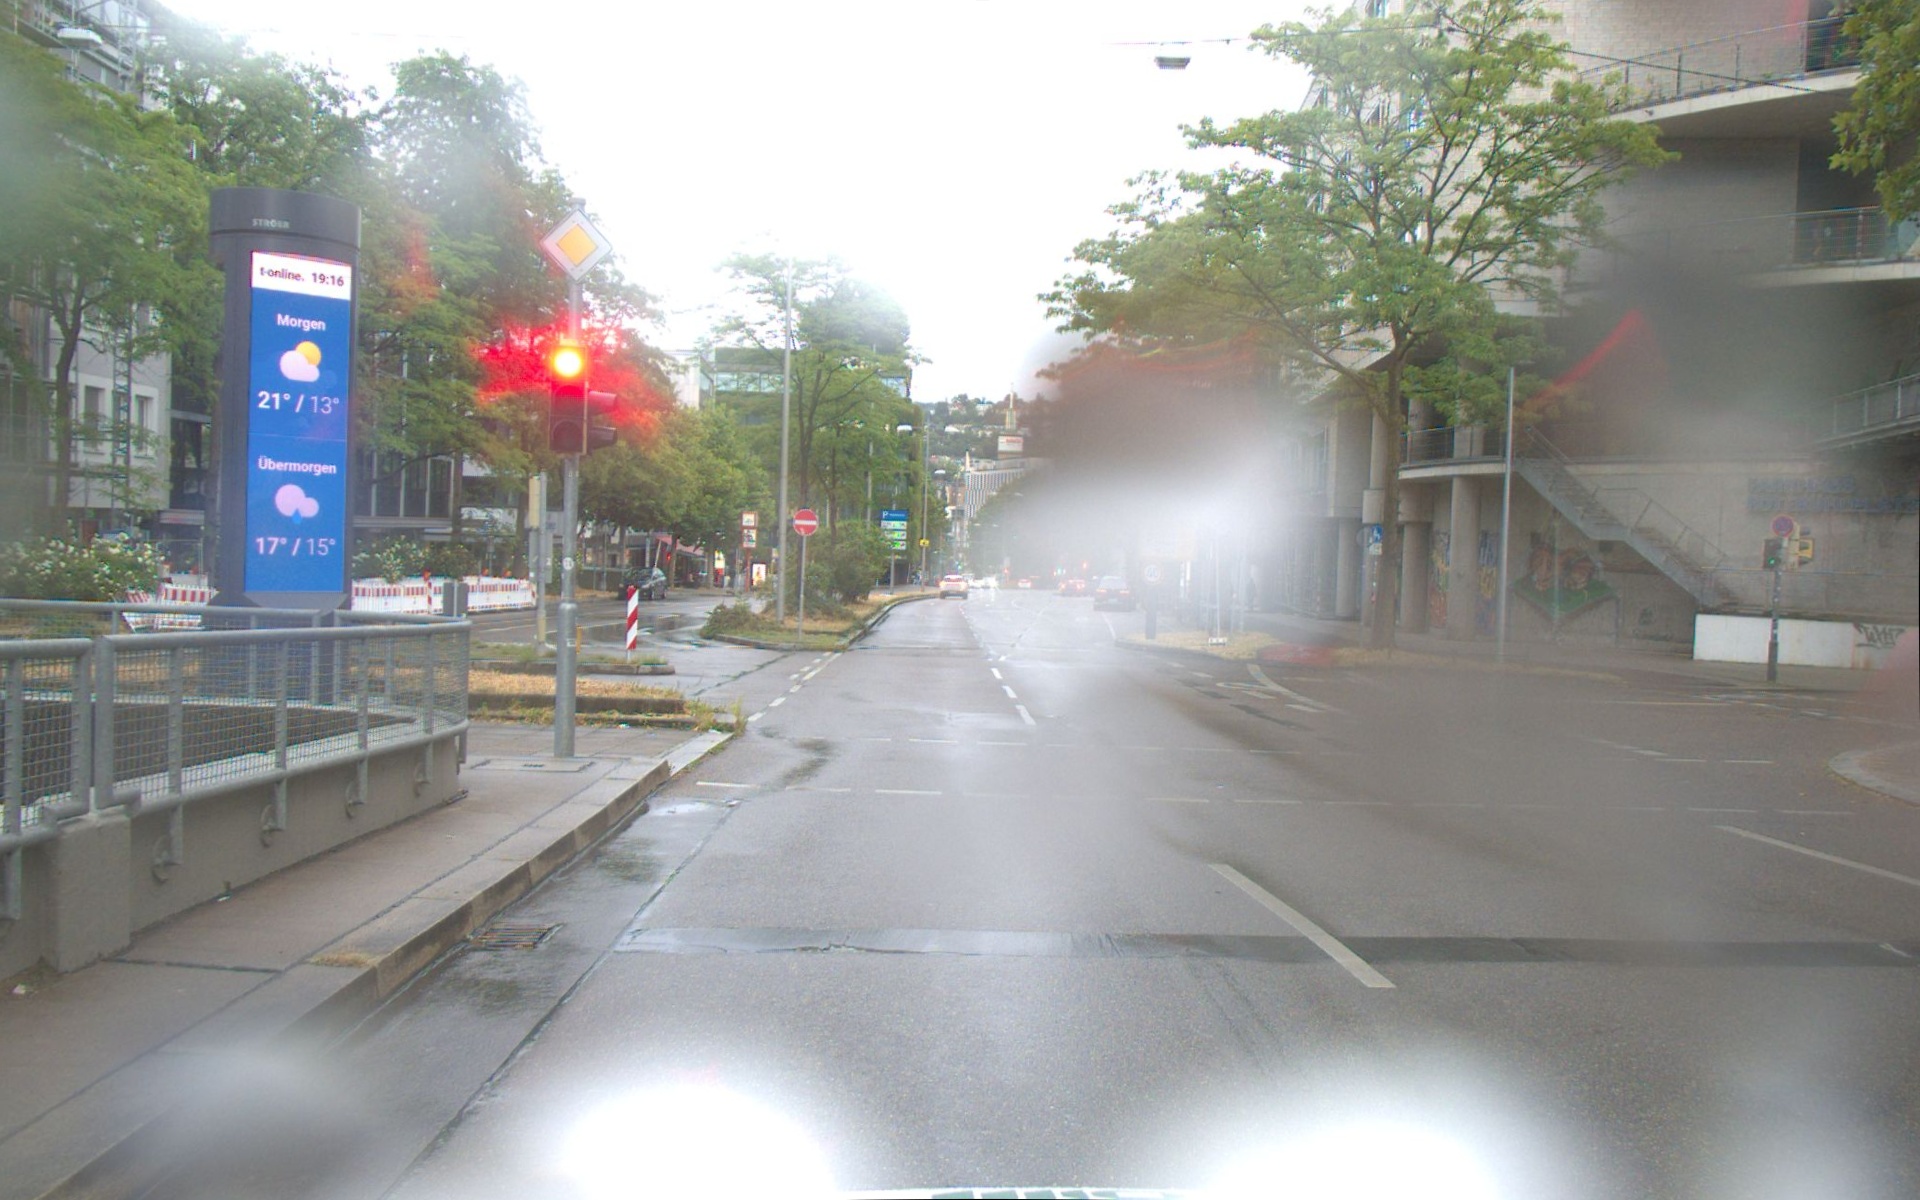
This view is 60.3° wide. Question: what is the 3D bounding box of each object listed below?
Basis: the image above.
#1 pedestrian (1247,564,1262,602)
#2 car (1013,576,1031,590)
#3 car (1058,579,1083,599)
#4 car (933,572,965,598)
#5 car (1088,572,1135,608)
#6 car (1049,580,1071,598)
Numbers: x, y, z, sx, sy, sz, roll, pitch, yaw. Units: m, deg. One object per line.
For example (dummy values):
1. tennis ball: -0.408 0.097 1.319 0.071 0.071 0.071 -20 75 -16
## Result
1. pedestrian: 15.616 -0.892 87.659 0.759 1.954 0.703 1 -1 9
2. car: 8.575 -2.326 228.874 1.955 1.789 3.995 2 0 -6
3. car: 10.351 -1.020 155.763 1.953 1.754 3.999 1 0 -2
4. car: -0.776 -1.051 115.369 1.793 1.668 4.296 2 0 -5
5. car: 7.691 -0.513 83.534 2.288 1.720 4.003 1 1 6
6. car: 10.060 -1.088 166.955 1.953 1.766 3.999 1 0 -1
